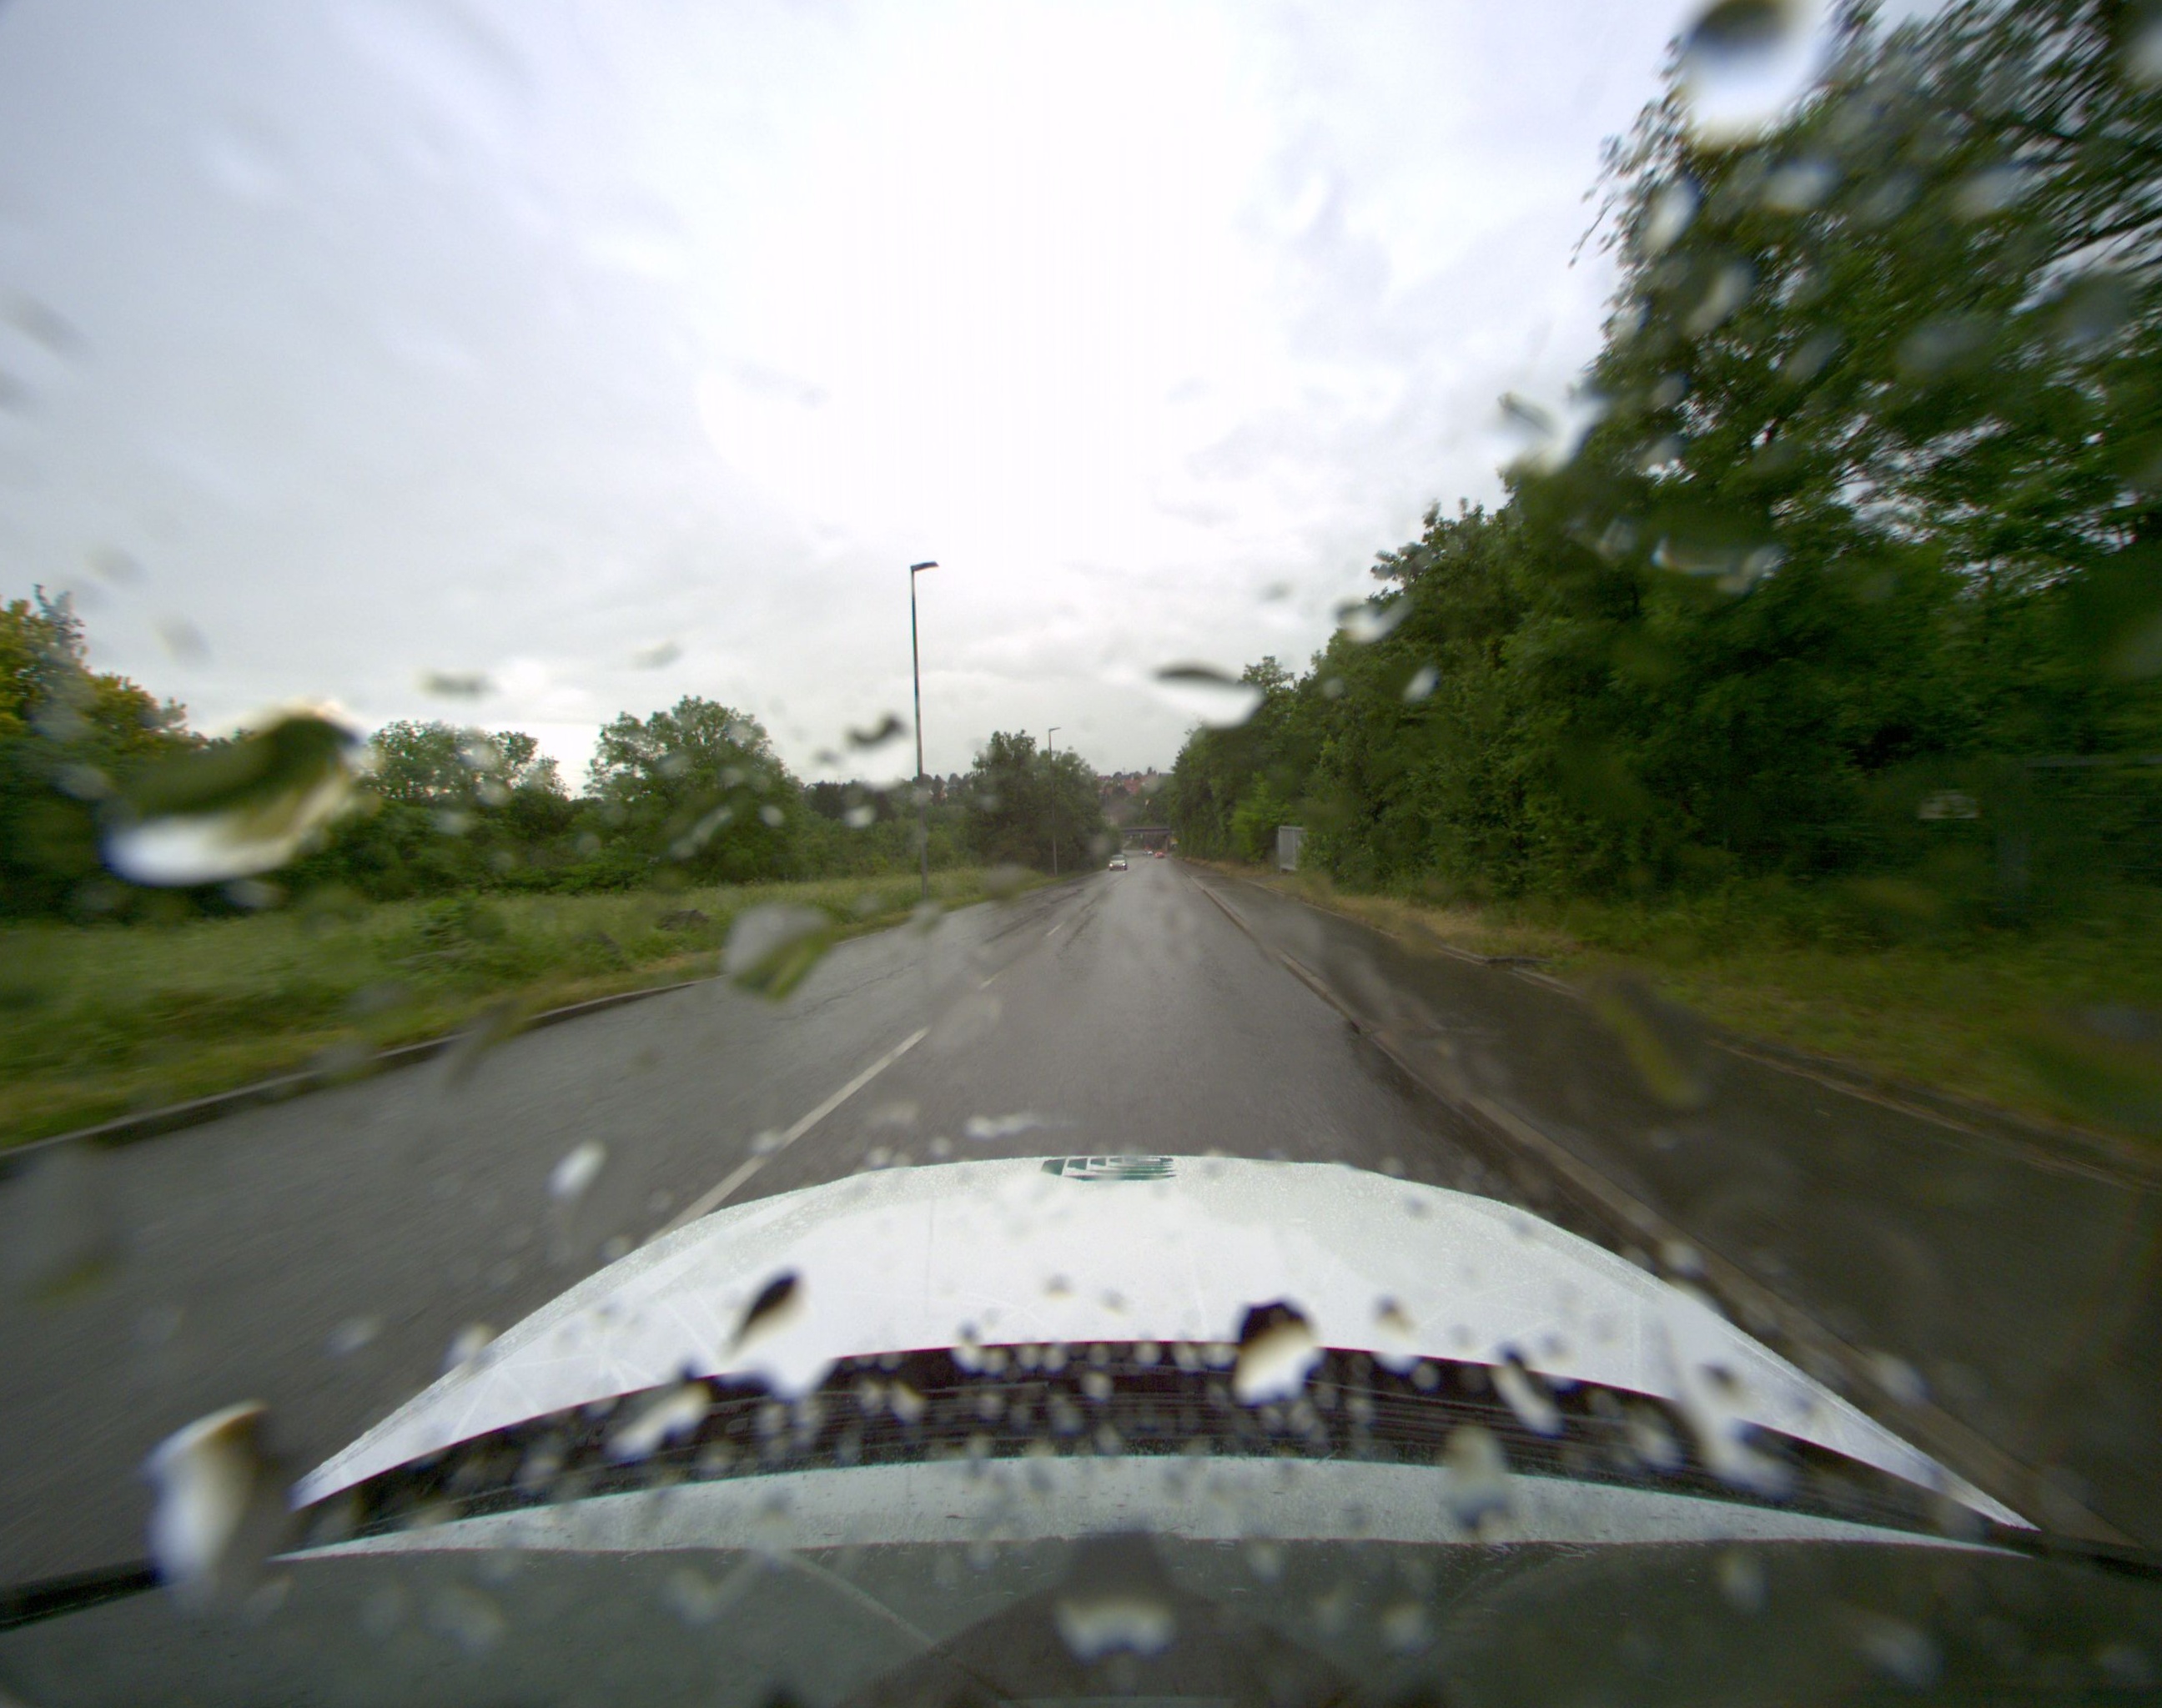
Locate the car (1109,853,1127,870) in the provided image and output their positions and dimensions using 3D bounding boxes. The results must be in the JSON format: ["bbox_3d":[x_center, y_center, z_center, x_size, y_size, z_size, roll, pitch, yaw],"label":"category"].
[{"bbox_3d":[3.620,0.729,79.807,1.632,1.488,3.457,-4,-1,3],"label":"car"}]

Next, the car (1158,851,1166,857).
[{"bbox_3d":[20.333,-0.007,204.034,1.759,1.380,4.007,-4,0,6],"label":"car"}]

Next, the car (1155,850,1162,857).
[{"bbox_3d":[20.130,-0.123,210.742,1.759,1.563,4.007,-4,0,6],"label":"car"}]
